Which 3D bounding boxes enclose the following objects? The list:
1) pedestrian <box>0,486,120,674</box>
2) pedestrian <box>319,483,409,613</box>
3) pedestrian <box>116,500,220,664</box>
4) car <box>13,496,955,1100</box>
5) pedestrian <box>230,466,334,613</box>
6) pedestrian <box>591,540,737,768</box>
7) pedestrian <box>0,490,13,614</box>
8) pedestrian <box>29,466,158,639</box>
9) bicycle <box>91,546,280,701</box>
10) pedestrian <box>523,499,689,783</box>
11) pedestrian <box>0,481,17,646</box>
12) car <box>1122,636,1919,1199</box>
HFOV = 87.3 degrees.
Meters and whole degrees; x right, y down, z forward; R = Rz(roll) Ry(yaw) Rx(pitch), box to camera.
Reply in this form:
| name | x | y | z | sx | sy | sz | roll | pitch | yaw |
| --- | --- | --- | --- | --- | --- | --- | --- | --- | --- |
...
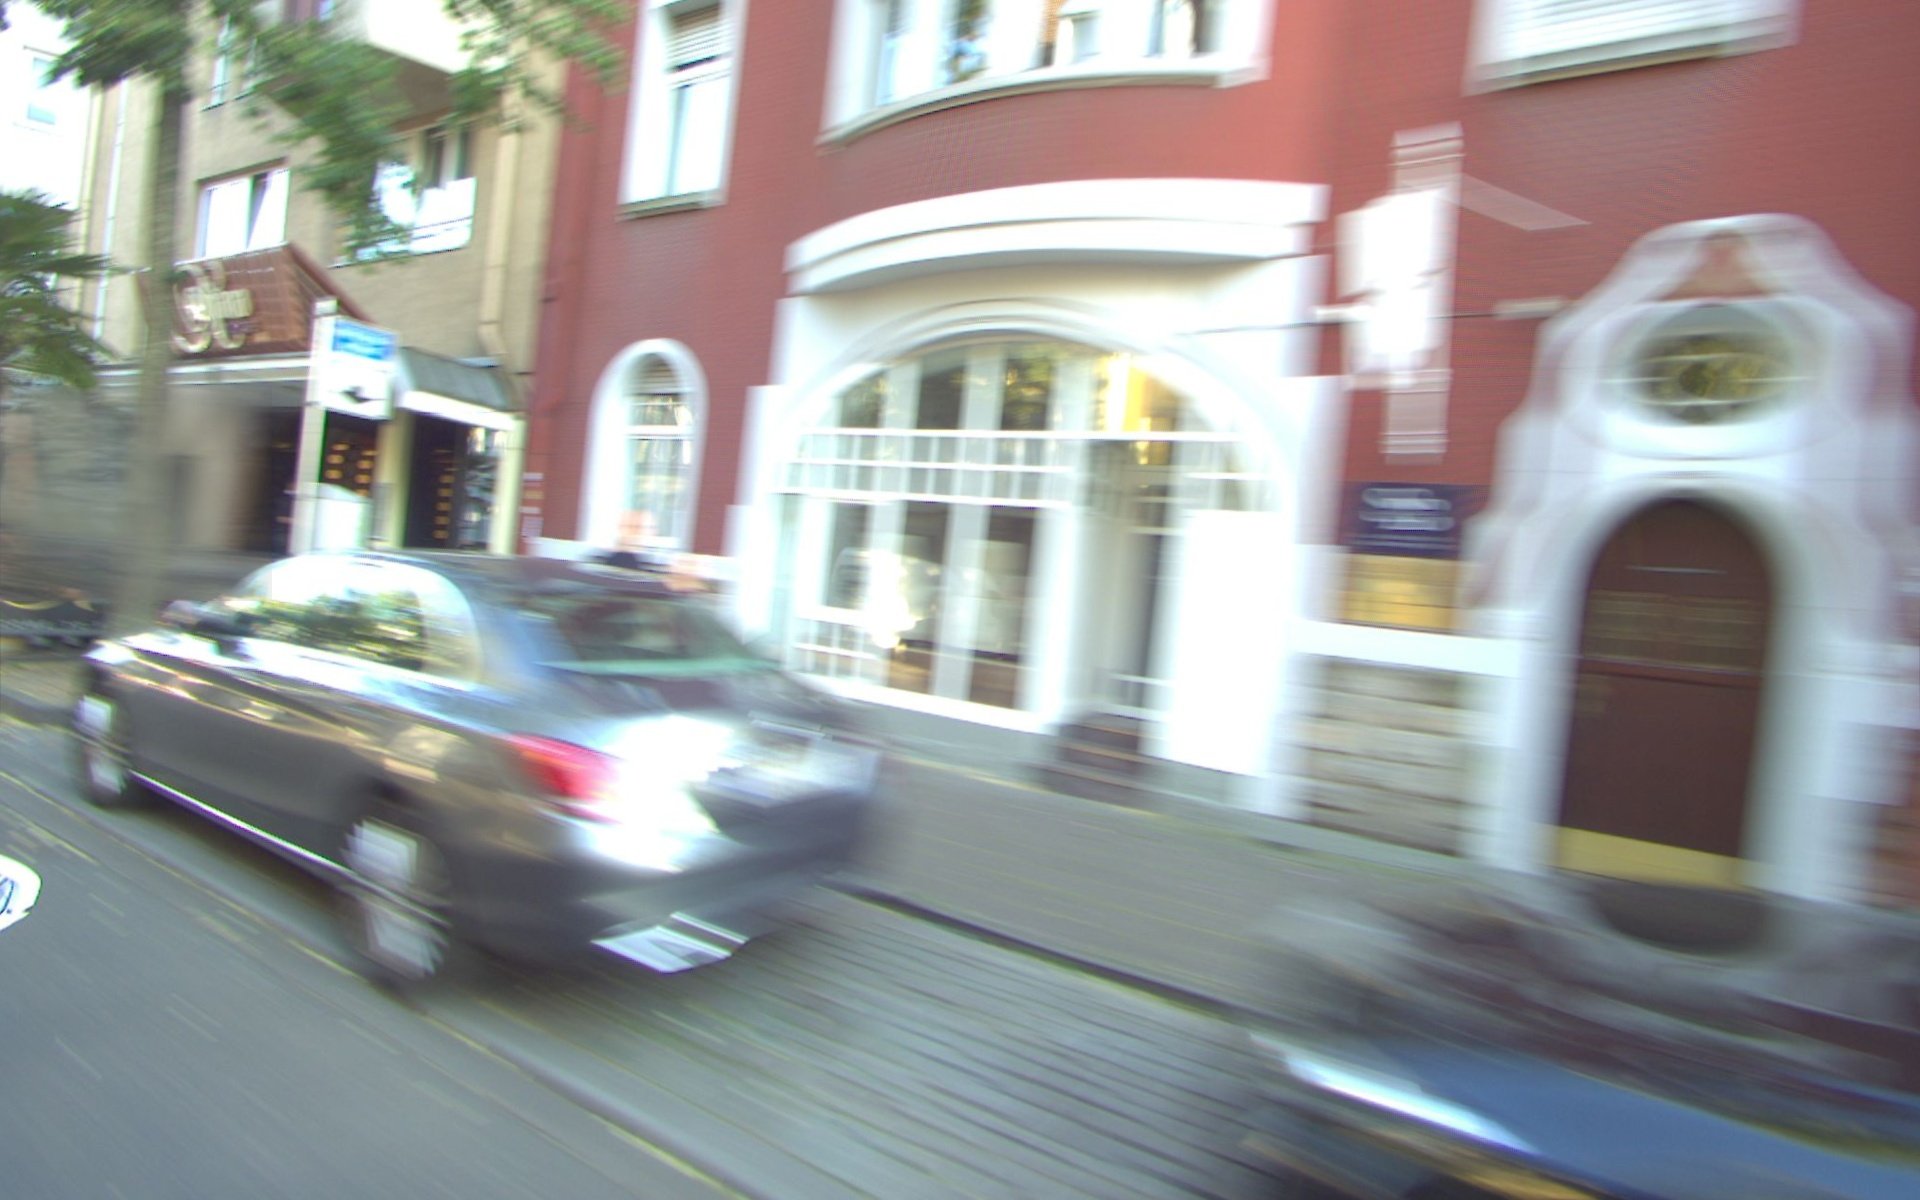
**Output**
| name | x | y | z | sx | sy | sz | roll | pitch | yaw |
| --- | --- | --- | --- | --- | --- | --- | --- | --- | --- |
| pedestrian | -7.561 | -0.163 | 8.433 | 0.593 | 1.482 | 0.577 | 7 | 3 | 32 |
| pedestrian | -9.390 | -0.808 | 15.853 | 0.864 | 1.908 | 0.799 | 9 | 3 | 34 |
| pedestrian | -6.932 | -0.151 | 8.814 | 0.430 | 1.363 | 0.547 | 7 | 3 | 32 |
| car | -2.598 | 0.434 | 4.833 | 4.919 | 1.459 | 1.774 | 7 | 2 | 34 |
| pedestrian | -9.479 | -0.832 | 14.065 | 0.863 | 1.908 | 0.799 | 9 | 3 | 32 |
| pedestrian | -2.115 | 0.373 | 7.203 | 0.630 | 1.508 | 0.624 | 7 | 2 | 32 |
| pedestrian | -11.326 | -0.584 | 11.454 | 0.706 | 1.403 | 0.577 | 7 | 3 | 32 |
| pedestrian | -8.664 | -0.464 | 10.062 | 0.782 | 1.620 | 0.708 | 7 | 3 | 32 |
| bicycle | -6.058 | 0.164 | 7.845 | 1.681 | 0.996 | 0.386 | 7 | 1 | 26 |
| pedestrian | -2.286 | 0.250 | 6.513 | 0.630 | 1.699 | 0.624 | 7 | 2 | 32 |
| pedestrian | -9.204 | -0.376 | 9.186 | 0.782 | 1.505 | 0.631 | 7 | 3 | 32 |
| car | 2.644 | 1.053 | 1.585 | 4.344 | 1.490 | 1.775 | 7 | 2 | 31 |
